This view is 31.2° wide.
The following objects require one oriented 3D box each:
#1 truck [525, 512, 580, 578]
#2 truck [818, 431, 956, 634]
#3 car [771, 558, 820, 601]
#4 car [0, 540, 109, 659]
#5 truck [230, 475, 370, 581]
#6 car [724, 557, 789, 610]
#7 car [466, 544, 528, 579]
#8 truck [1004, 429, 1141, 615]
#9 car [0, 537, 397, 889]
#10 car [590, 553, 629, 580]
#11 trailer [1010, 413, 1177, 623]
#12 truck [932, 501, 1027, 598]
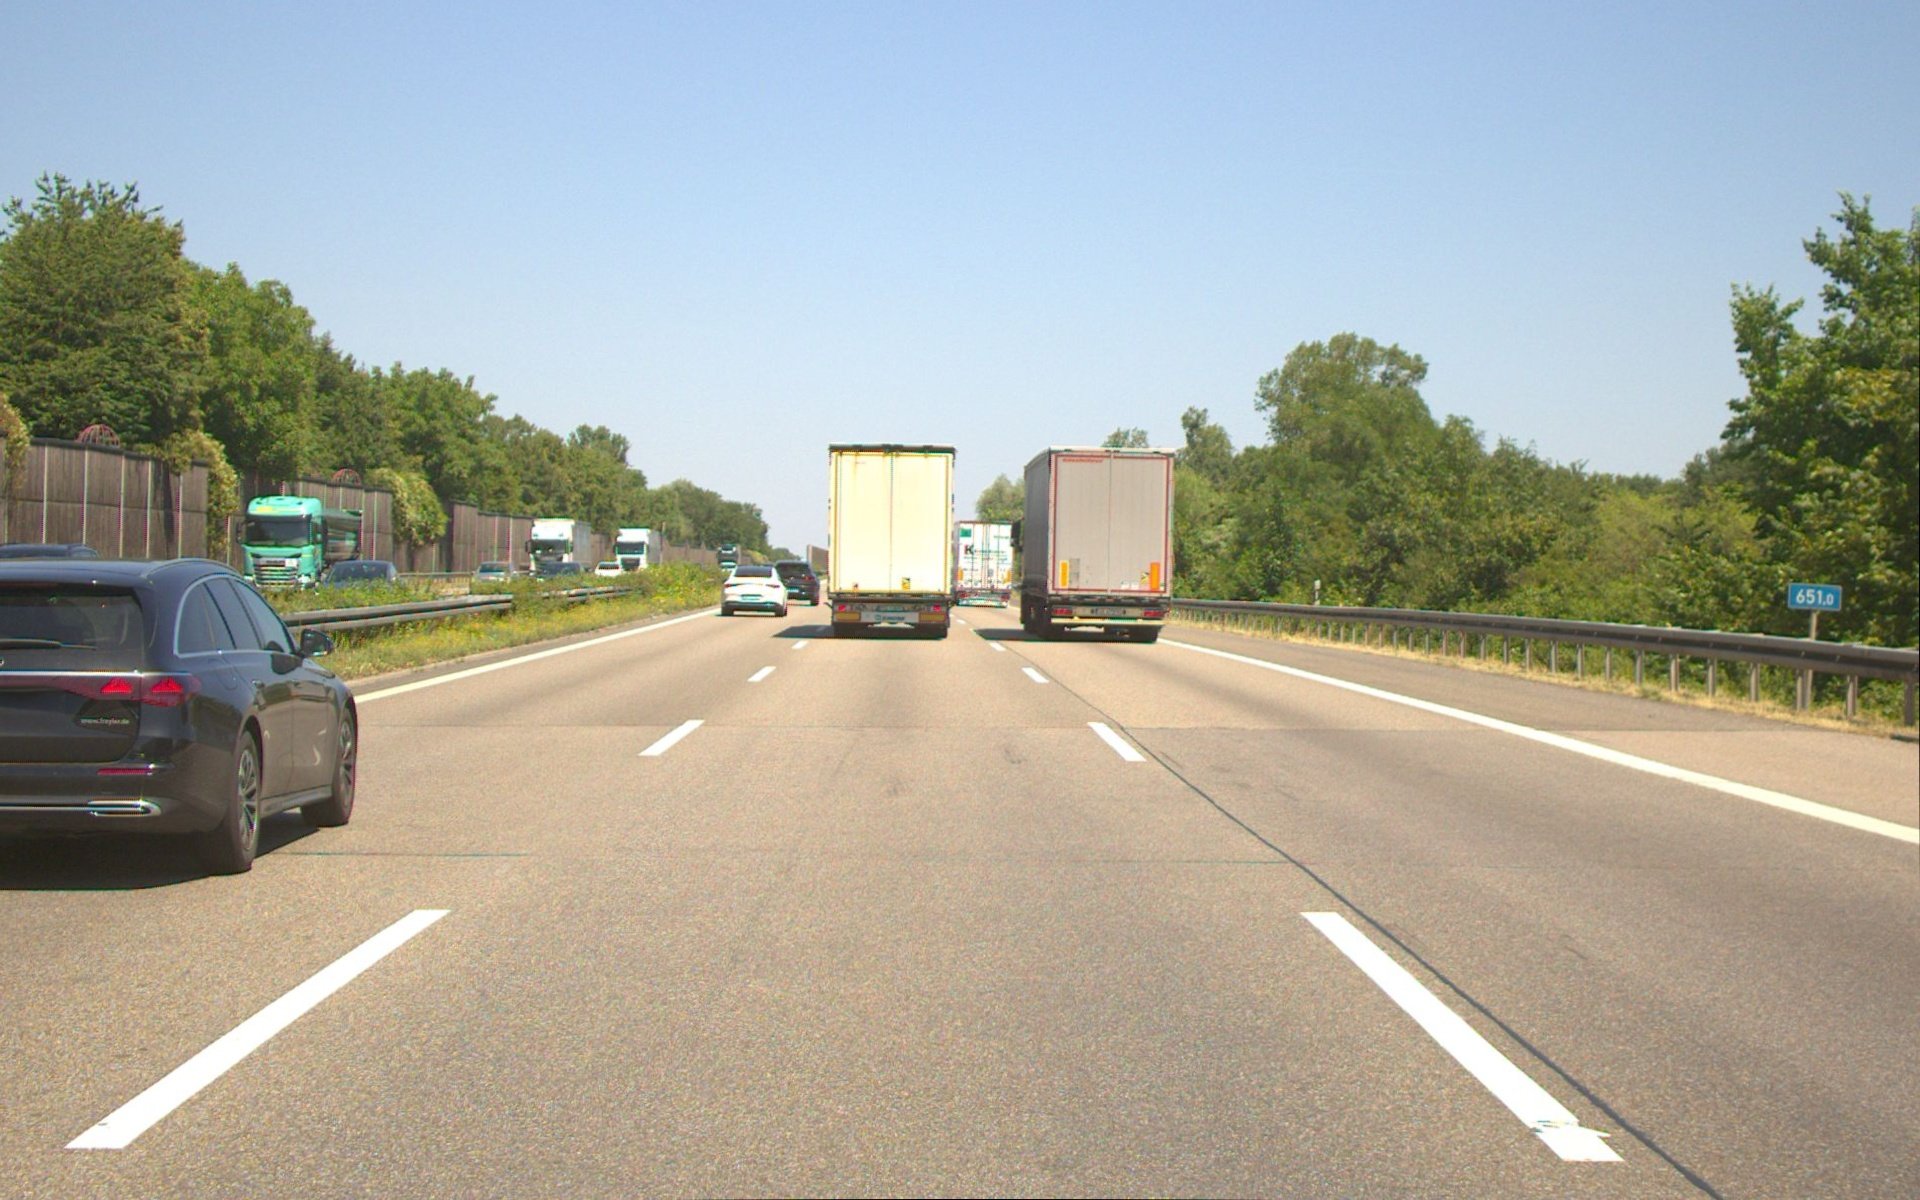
[{"bbox_3d":[-25.521,-3.441,215.621,2.757,4.008,6.735,2,1,-2],"label":"truck"},{"bbox_3d":[-1.697,-1.465,76.806,2.707,4.072,13.475,2,1,-2],"label":"truck"},{"bbox_3d":[-6.410,-0.805,133.831,1.855,1.611,4.001,0,1,-3],"label":"car"},{"bbox_3d":[-14.342,-0.046,51.752,1.993,1.714,4.533,1,1,-1],"label":"car"},{"bbox_3d":[-24.082,-2.608,126.048,3.089,3.663,12.369,1,1,-2],"label":"truck"},{"bbox_3d":[-5.979,-0.497,100.962,1.855,1.481,4.001,0,1,-3],"label":"car"},{"bbox_3d":[-19.581,-1.622,145.539,1.865,1.436,5.085,1,1,0],"label":"car"},{"bbox_3d":[2.631,-1.836,82.742,2.691,4.201,7.839,2,1,-2],"label":"truck"},{"bbox_3d":[-4.338,0.432,17.703,1.943,1.501,5.821,0,1,0],"label":"car"},{"bbox_3d":[-21.123,-2.047,207.298,1.993,1.585,4.493,1,1,-1],"label":"car"},{"bbox_3d":[2.813,-1.748,76.510,2.703,4.201,13.213,2,1,-2],"label":"trailer"},{"bbox_3d":[0.860,-2.442,164.237,3.374,4.289,11.452,4,1,-4],"label":"truck"}]
